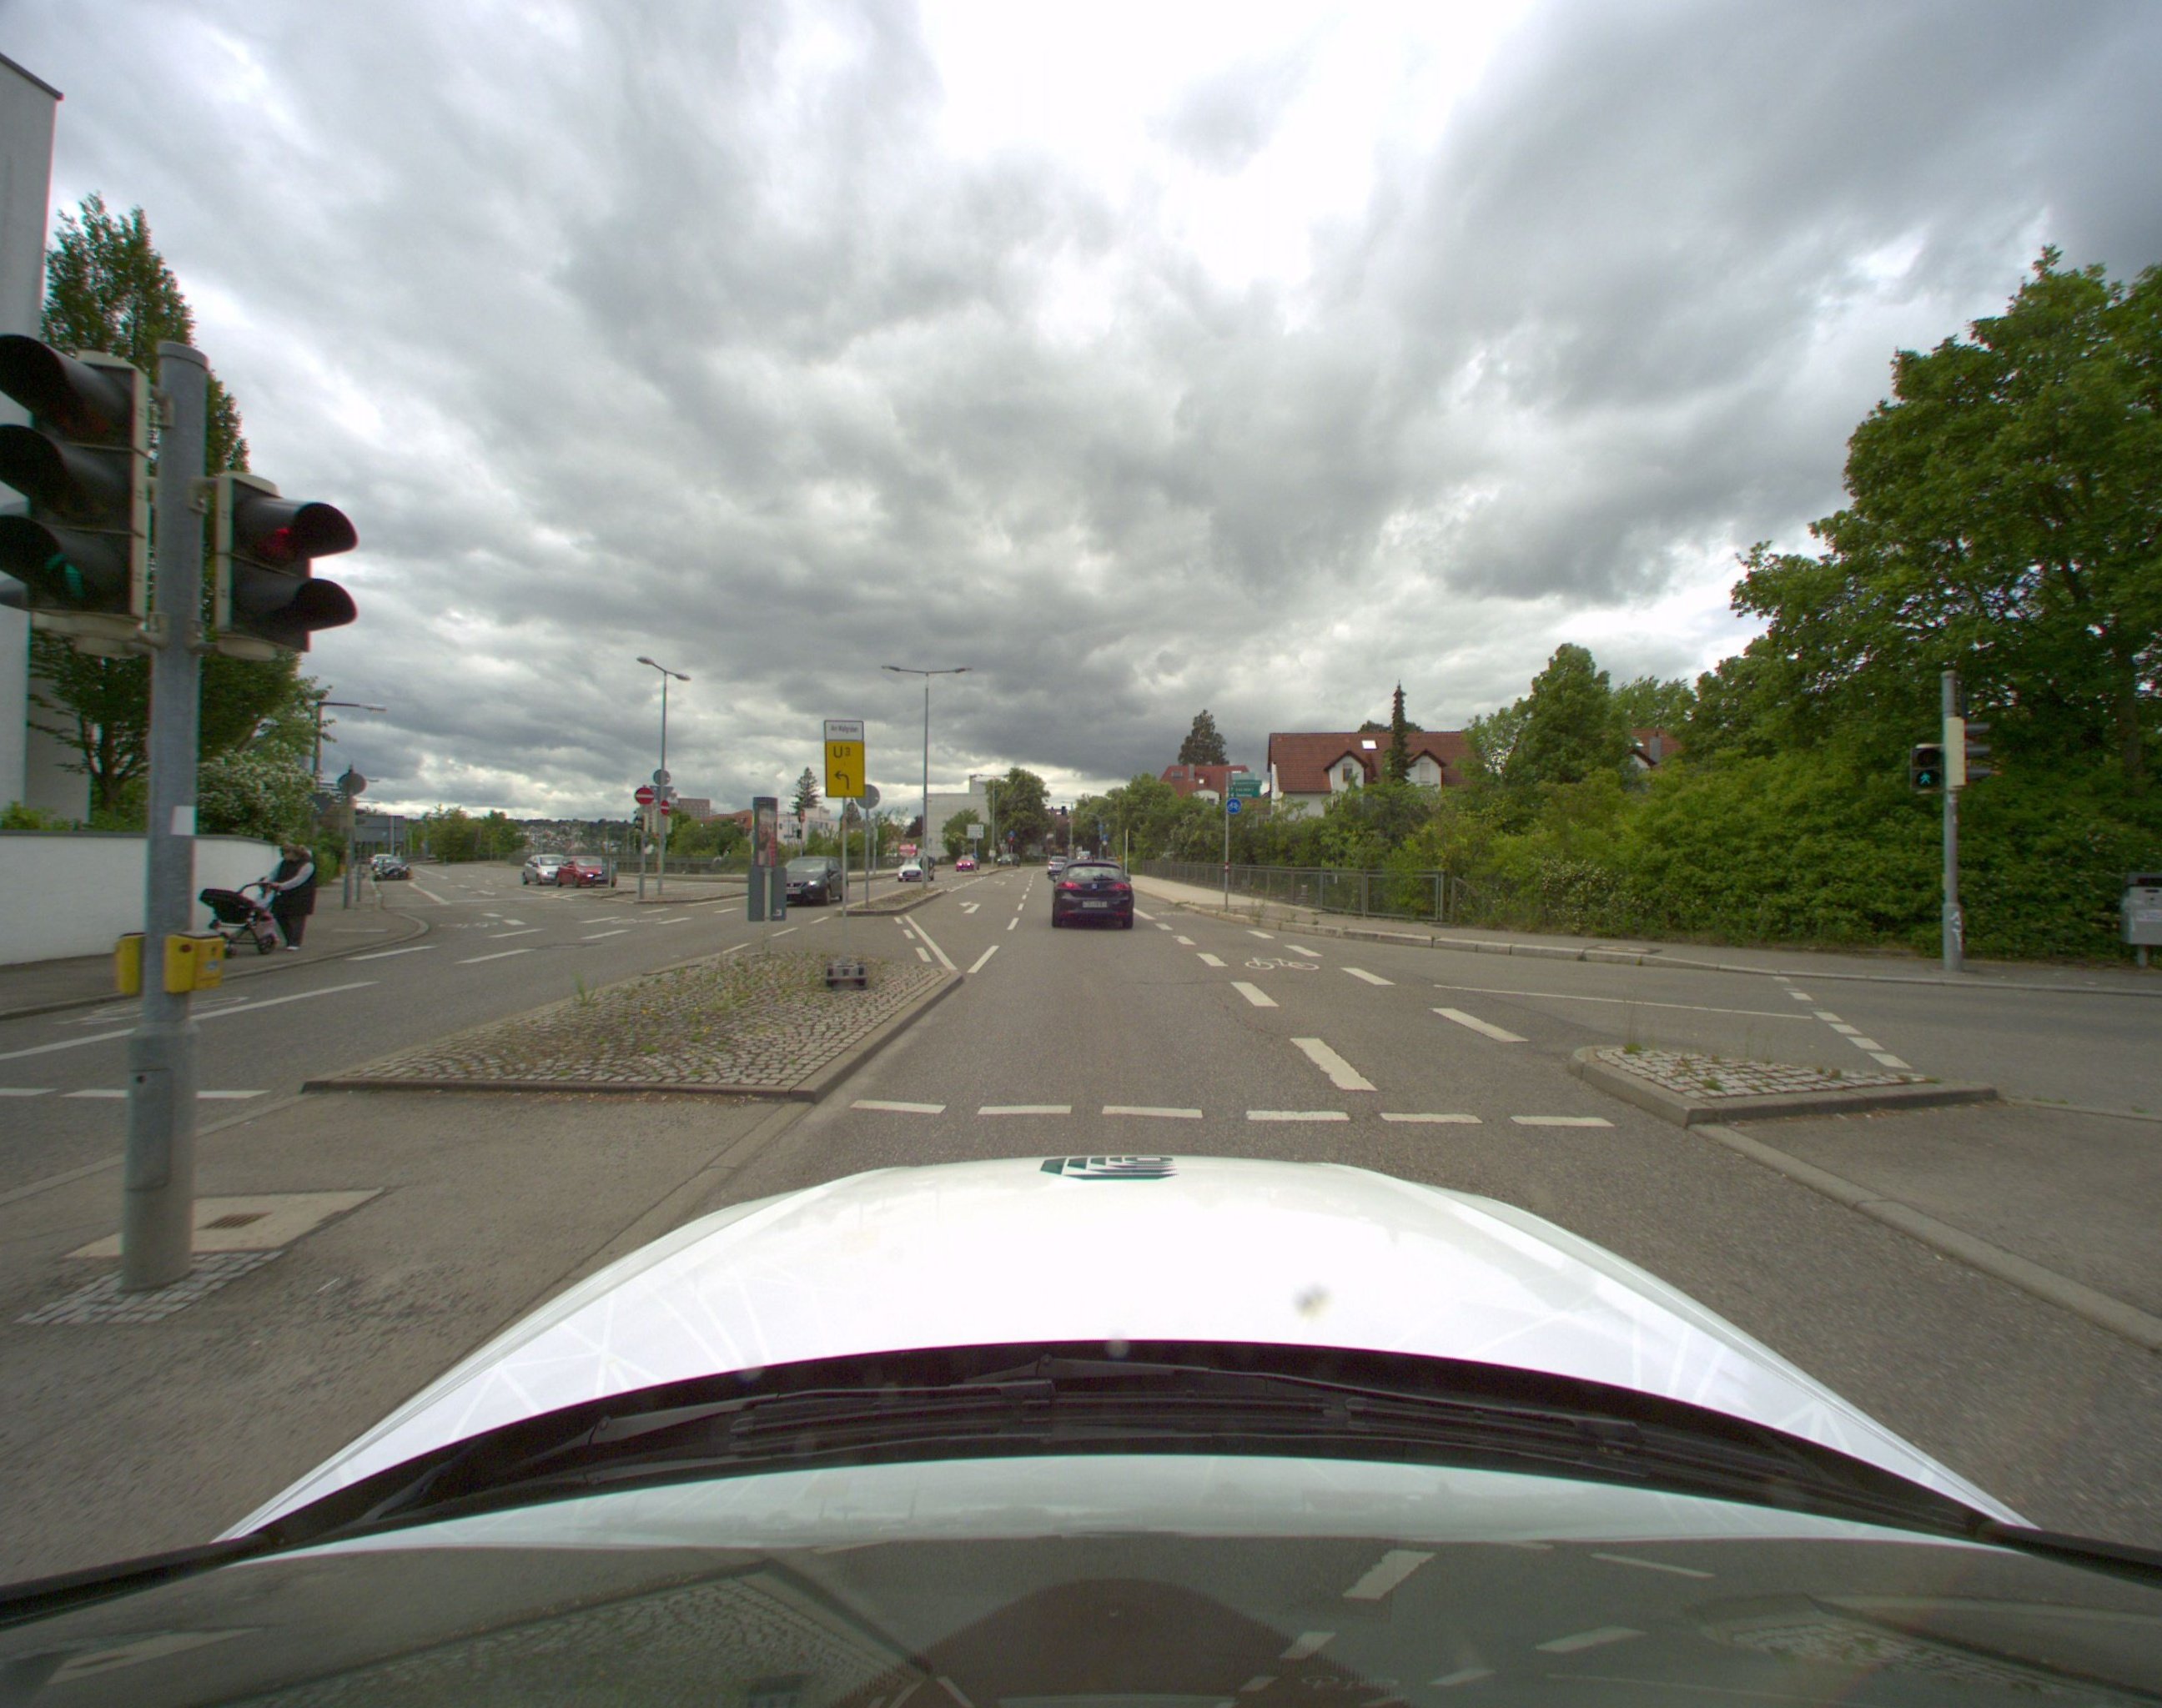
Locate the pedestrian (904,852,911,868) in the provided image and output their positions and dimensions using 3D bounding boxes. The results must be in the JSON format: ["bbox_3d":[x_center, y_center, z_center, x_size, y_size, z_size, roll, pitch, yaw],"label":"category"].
[{"bbox_3d":[-17.642,0.617,82.906,0.656,1.633,0.830,2,-1,-9],"label":"pedestrian"}]

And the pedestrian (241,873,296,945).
[{"bbox_3d":[-12.507,0.841,12.547,0.325,1.062,0.443,4,-1,-4],"label":"pedestrian"}]

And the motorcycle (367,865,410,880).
[{"bbox_3d":[-46.163,1.225,54.335,0.695,0.999,2.130,-4,-2,16],"label":"motorcycle"}]

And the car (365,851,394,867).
[{"bbox_3d":[-73.540,0.541,85.397,4.322,1.607,1.911,0,-1,44],"label":"car"}]

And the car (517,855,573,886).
[{"bbox_3d":[-28.262,0.882,42.897,1.657,1.535,4.078,-1,-1,-45],"label":"car"}]

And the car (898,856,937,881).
[{"bbox_3d":[-9.418,0.824,47.227,1.639,1.409,3.814,1,0,-3],"label":"car"}]

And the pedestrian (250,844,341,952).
[{"bbox_3d":[-11.766,0.640,12.218,0.530,1.543,0.730,5,-1,-5],"label":"pedestrian"}]

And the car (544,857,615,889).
[{"bbox_3d":[-23.822,0.896,38.653,3.655,1.447,1.786,-2,-1,40],"label":"car"}]

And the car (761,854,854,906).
[{"bbox_3d":[-8.166,0.744,24.683,1.717,1.391,3.912,-1,0,-4],"label":"car"}]

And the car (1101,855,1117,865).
[{"bbox_3d":[4.821,1.082,140.222,1.979,1.684,4.015,0,0,13],"label":"car"}]

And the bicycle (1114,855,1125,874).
[{"bbox_3d":[3.242,0.864,68.271,0.888,1.510,2.785,0,0,3],"label":"bicycle"}]

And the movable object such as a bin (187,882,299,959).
[{"bbox_3d":[-11.697,0.907,11.399,0.496,0.960,0.985,5,-1,-5],"label":"movable object such as a bin"}]

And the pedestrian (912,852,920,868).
[{"bbox_3d":[-16.847,0.617,83.006,0.655,1.633,1.067,2,-1,-9],"label":"pedestrian"}]

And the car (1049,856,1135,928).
[{"bbox_3d":[0.256,0.784,18.412,1.753,1.449,3.715,0,0,1],"label":"car"}]

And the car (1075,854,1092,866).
[{"bbox_3d":[0.321,0.756,107.315,1.938,1.481,4.246,0,0,-5],"label":"car"}]

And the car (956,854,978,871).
[{"bbox_3d":[-10.435,0.773,74.650,1.717,1.448,4.060,1,0,-4],"label":"car"}]

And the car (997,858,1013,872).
[{"bbox_3d":[-8.838,1.305,95.159,1.819,1.626,4.272,1,0,-4],"label":"car"}]

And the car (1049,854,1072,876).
[{"bbox_3d":[-1.621,0.859,65.311,1.814,1.699,4.251,0,0,-1],"label":"car"}]
